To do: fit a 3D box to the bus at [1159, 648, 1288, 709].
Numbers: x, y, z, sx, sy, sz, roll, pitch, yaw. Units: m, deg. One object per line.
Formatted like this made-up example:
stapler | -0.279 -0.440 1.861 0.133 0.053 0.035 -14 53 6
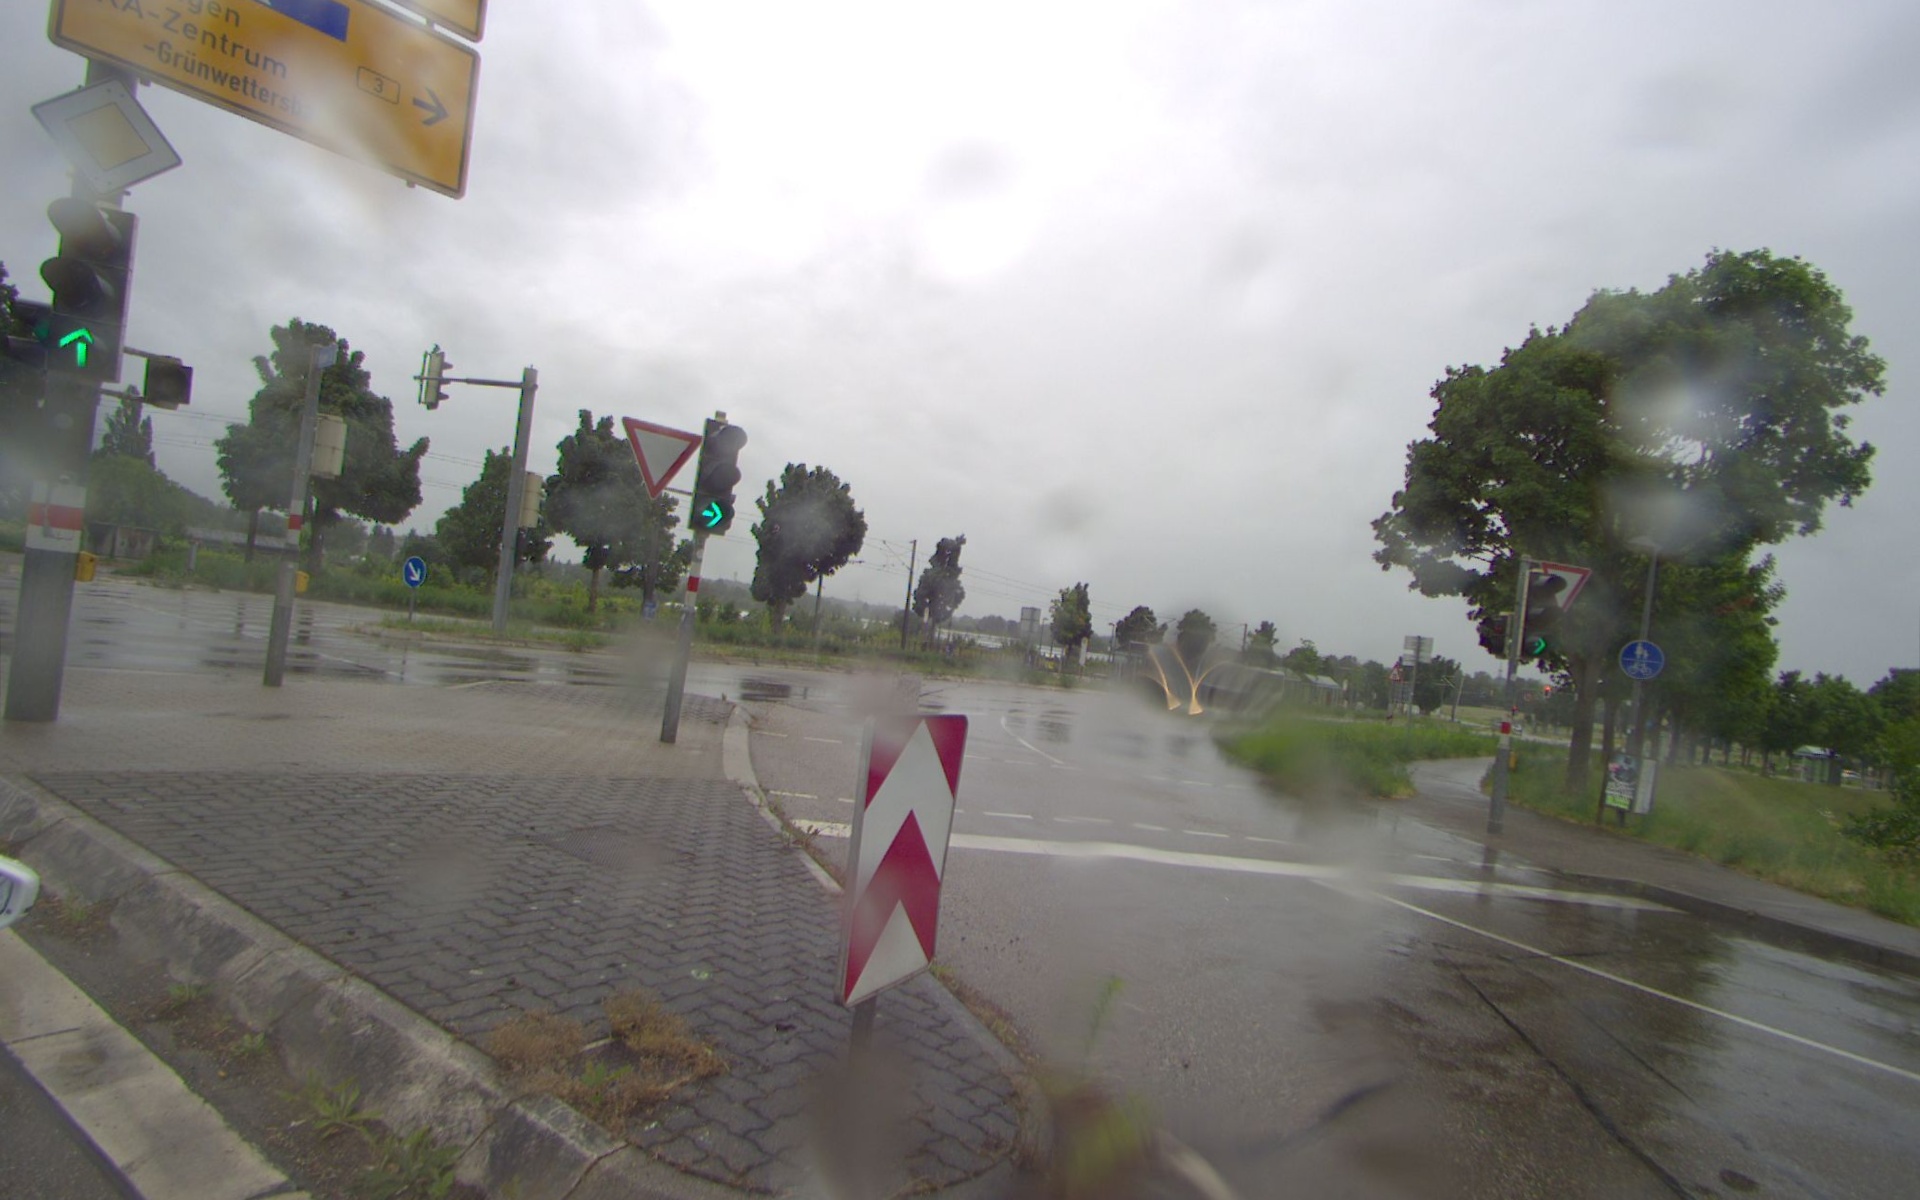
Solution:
bus | 21.590 6.529 80.795 2.715 3.828 18.381 7 -2 38
